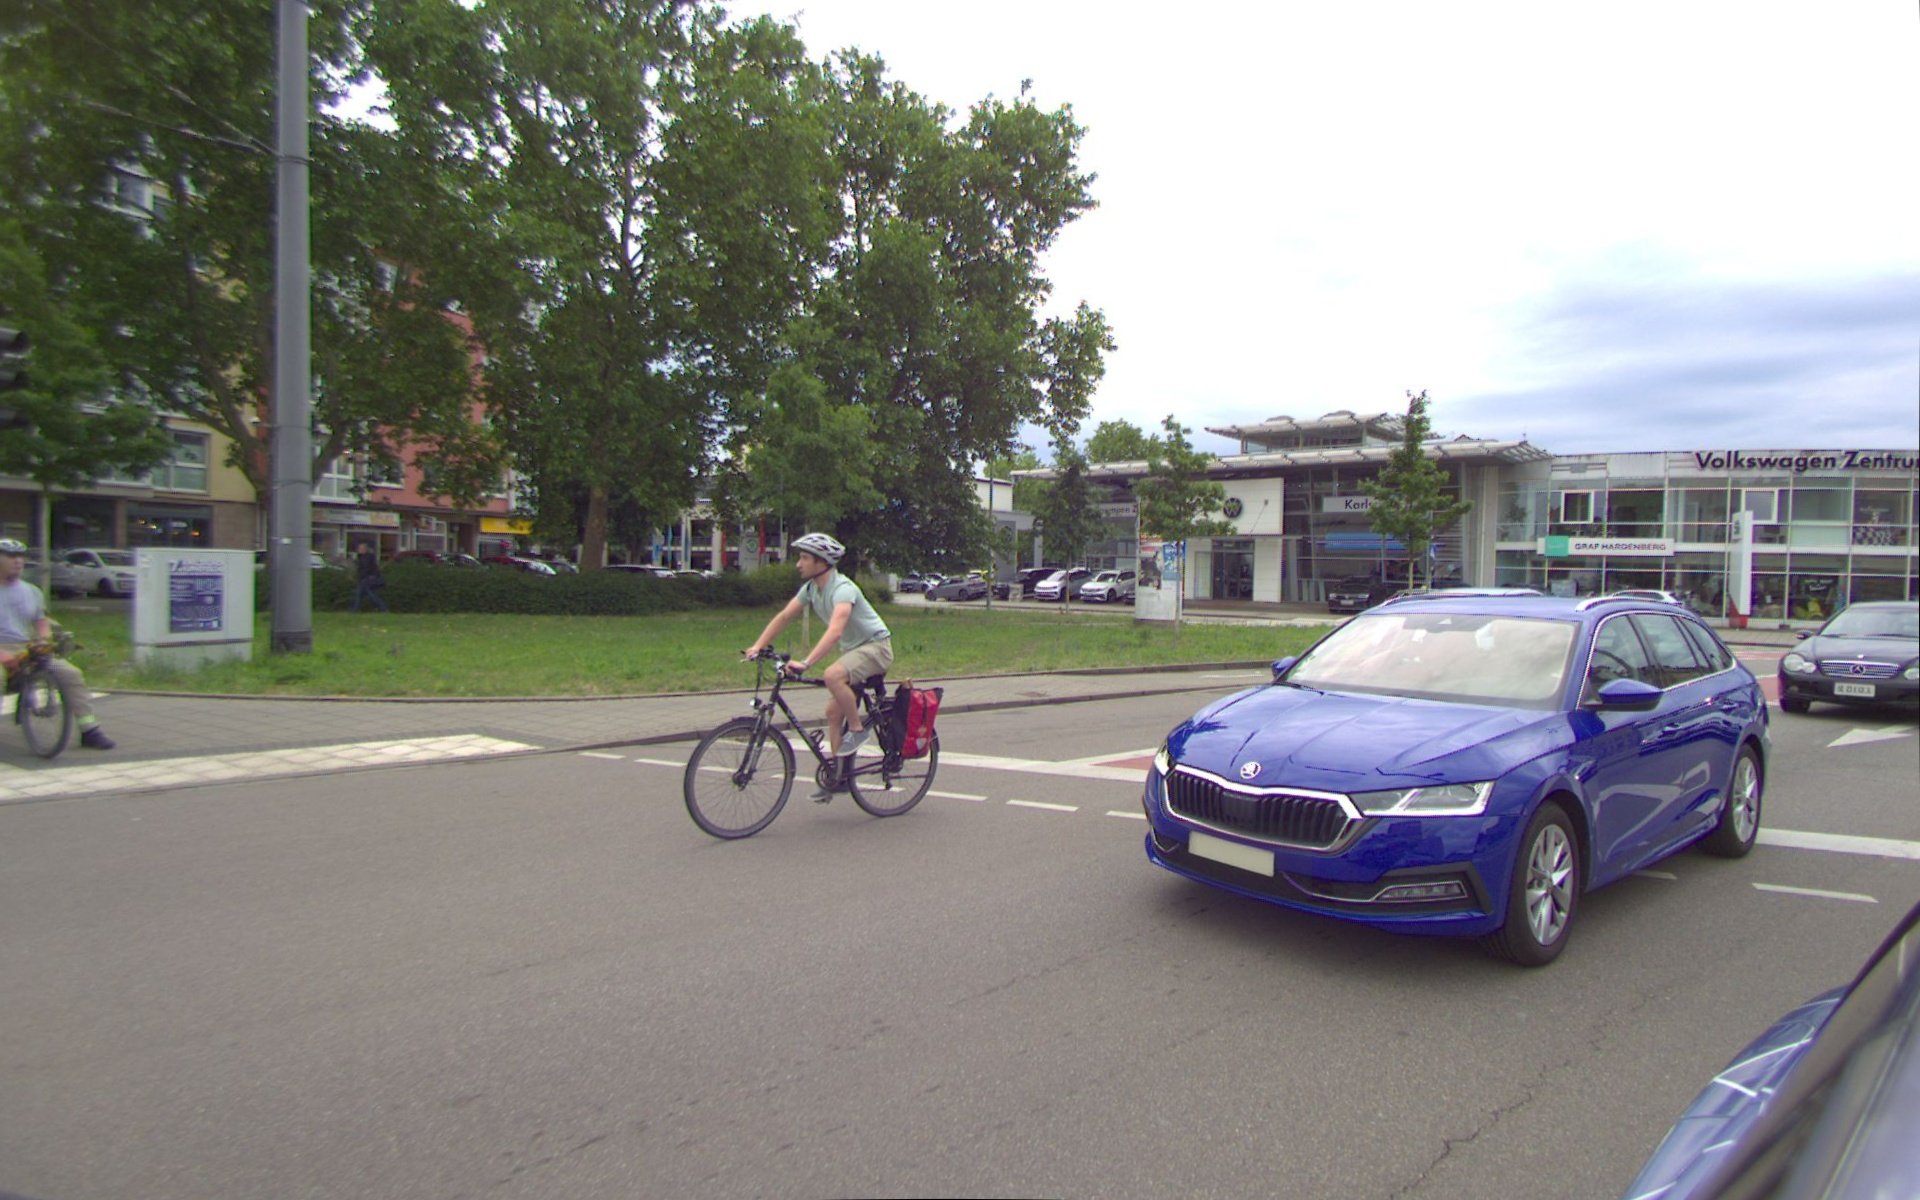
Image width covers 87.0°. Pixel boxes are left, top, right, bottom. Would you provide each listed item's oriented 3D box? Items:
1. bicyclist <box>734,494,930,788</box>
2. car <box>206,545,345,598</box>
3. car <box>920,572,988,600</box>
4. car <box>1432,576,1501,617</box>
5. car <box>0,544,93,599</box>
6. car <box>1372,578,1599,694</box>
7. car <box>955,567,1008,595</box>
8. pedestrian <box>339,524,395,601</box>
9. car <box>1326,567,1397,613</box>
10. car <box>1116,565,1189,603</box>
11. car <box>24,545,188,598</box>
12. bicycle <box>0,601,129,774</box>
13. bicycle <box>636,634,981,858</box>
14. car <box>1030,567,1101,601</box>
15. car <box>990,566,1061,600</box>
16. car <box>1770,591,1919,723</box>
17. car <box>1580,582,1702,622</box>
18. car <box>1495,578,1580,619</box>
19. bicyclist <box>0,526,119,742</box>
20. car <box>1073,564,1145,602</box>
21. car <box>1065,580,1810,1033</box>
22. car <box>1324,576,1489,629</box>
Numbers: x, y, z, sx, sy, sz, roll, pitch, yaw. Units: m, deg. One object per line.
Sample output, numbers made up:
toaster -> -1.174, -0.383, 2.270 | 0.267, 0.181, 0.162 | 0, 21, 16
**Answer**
bicyclist -> -0.790, 0.222, 6.239 | 0.916, 1.638, 0.790 | 0, 0, -39
car -> -24.443, -1.026, 36.185 | 3.940, 1.745, 1.992 | 2, 2, 14
car -> -0.383, -0.876, 61.545 | 4.135, 1.531, 1.630 | 3, 2, 43
car -> 21.698, -0.194, 43.506 | 1.931, 1.543, 4.209 | 2, 3, 17
car -> -27.509, -0.854, 29.154 | 3.943, 1.482, 1.991 | 2, 2, 15
car -> 7.903, 0.452, 15.084 | 3.865, 1.502, 1.708 | 0, 1, -41
car -> 1.347, -1.202, 63.190 | 3.112, 1.530, 1.420 | 3, 6, 43
pedestrian -> -14.710, -0.925, 25.110 | 0.859, 1.841, 0.889 | 3, 2, 30
car -> 18.458, -0.513, 46.427 | 1.946, 1.662, 4.618 | 2, 6, 36
car -> 10.295, -0.881, 53.985 | 1.950, 1.472, 4.173 | 3, 10, 41
car -> -26.732, -0.908, 31.733 | 3.940, 1.459, 1.993 | 3, 2, 13
bicycle -> -7.178, 0.615, 7.858 | 1.934, 1.010, 0.594 | 7, 4, 34
bicycle -> -0.876, 0.794, 6.202 | 1.980, 1.092, 0.763 | 0, 1, -38
car -> 6.039, -0.956, 57.750 | 1.950, 1.483, 4.170 | 3, 8, 41
car -> 3.880, -1.052, 59.413 | 1.950, 1.529, 4.171 | 3, 8, 41
car -> 12.009, 0.615, 12.719 | 4.339, 1.387, 1.771 | -1, 2, -36
car -> 27.896, 0.064, 41.547 | 3.896, 1.459, 1.705 | 3, 2, 45
car -> 24.214, -0.092, 42.578 | 1.762, 1.580, 4.024 | 2, 2, 10
bicyclist -> -7.094, 0.224, 7.833 | 0.881, 1.540, 0.664 | 5, 3, 34
car -> 8.274, -0.958, 55.960 | 1.950, 1.614, 4.171 | 3, 9, 41
car -> 2.852, 0.651, 5.438 | 4.671, 1.454, 1.770 | 0, 1, -39
car -> 15.321, 0.036, 34.894 | 4.865, 1.562, 1.862 | 4, 3, 42
